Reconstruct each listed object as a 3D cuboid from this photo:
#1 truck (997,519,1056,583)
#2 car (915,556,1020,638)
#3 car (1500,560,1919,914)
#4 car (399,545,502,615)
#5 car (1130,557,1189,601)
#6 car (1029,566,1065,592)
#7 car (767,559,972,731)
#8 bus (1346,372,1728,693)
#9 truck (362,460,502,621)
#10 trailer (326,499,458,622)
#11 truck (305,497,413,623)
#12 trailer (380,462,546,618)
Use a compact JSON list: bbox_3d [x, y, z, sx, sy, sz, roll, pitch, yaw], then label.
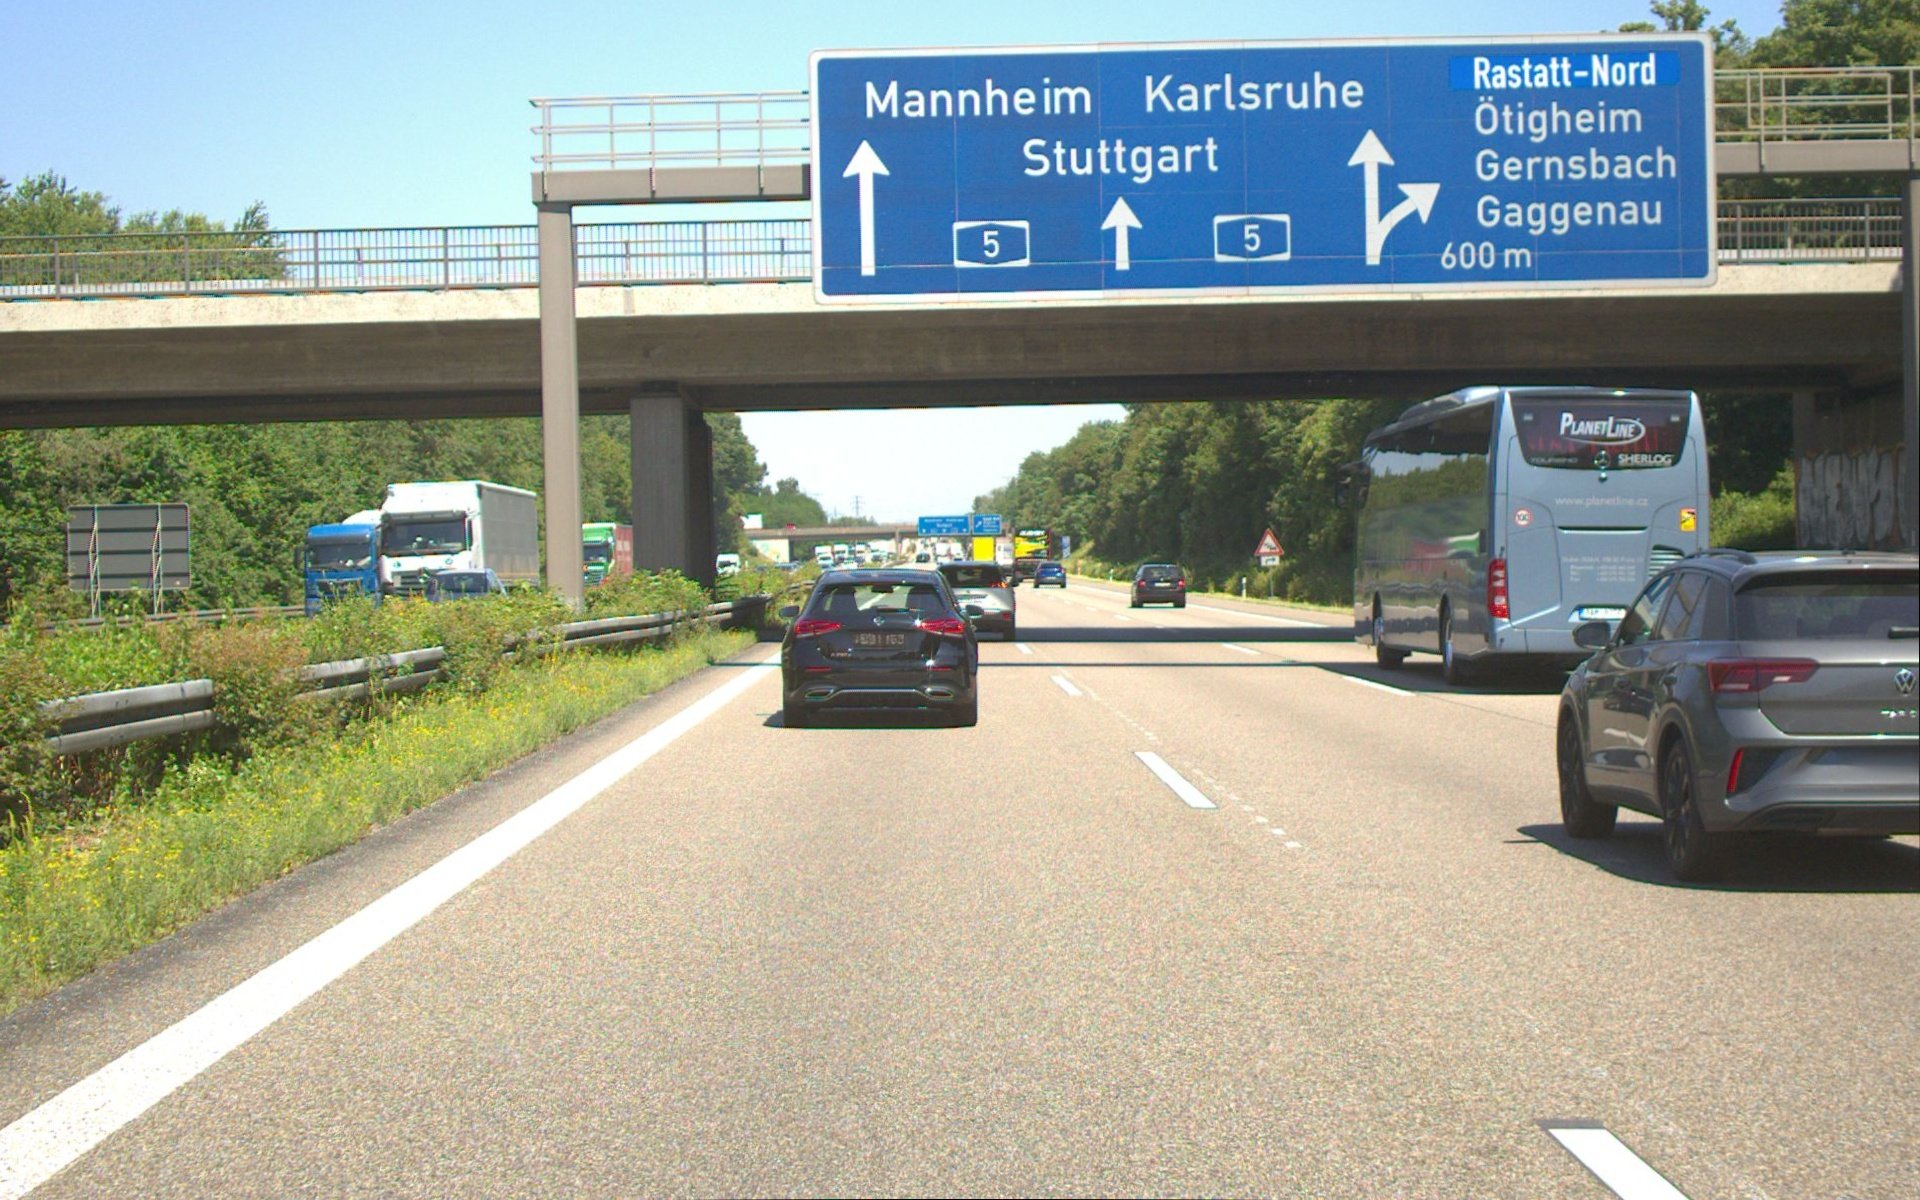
[{"bbox_3d":[4.808,-3.554,252.547,3.647,4.574,15.768,1,0,-1],"label":"truck"},{"bbox_3d":[0.111,-0.083,65.966,1.899,1.527,4.242,0,1,-1],"label":"car"},{"bbox_3d":[4.113,0.569,17.385,1.899,1.527,4.760,0,1,-1],"label":"car"},{"bbox_3d":[-11.800,-0.480,79.807,1.899,1.548,4.242,-1,1,-2],"label":"car"},{"bbox_3d":[6.747,-0.722,116.415,1.789,1.456,3.949,0,1,1],"label":"car"},{"bbox_3d":[5.107,-1.241,202.650,2.081,1.527,4.241,0,1,1],"label":"car"},{"bbox_3d":[-0.844,0.370,32.232,1.799,1.497,4.242,0,1,-1],"label":"car"},{"bbox_3d":[7.147,-0.821,44.643,2.802,3.584,12.475,0,1,0],"label":"bus"},{"bbox_3d":[-14.545,-1.631,95.079,2.828,4.197,5.889,-3,1,0],"label":"truck"},{"bbox_3d":[-18.941,-1.346,115.335,2.358,3.781,12.075,-3,1,0],"label":"trailer"},{"bbox_3d":[-18.887,-1.265,108.296,2.359,3.762,5.252,-3,1,0],"label":"truck"},{"bbox_3d":[-14.609,-1.766,102.185,2.828,4.210,13.836,-3,1,0],"label":"trailer"}]
